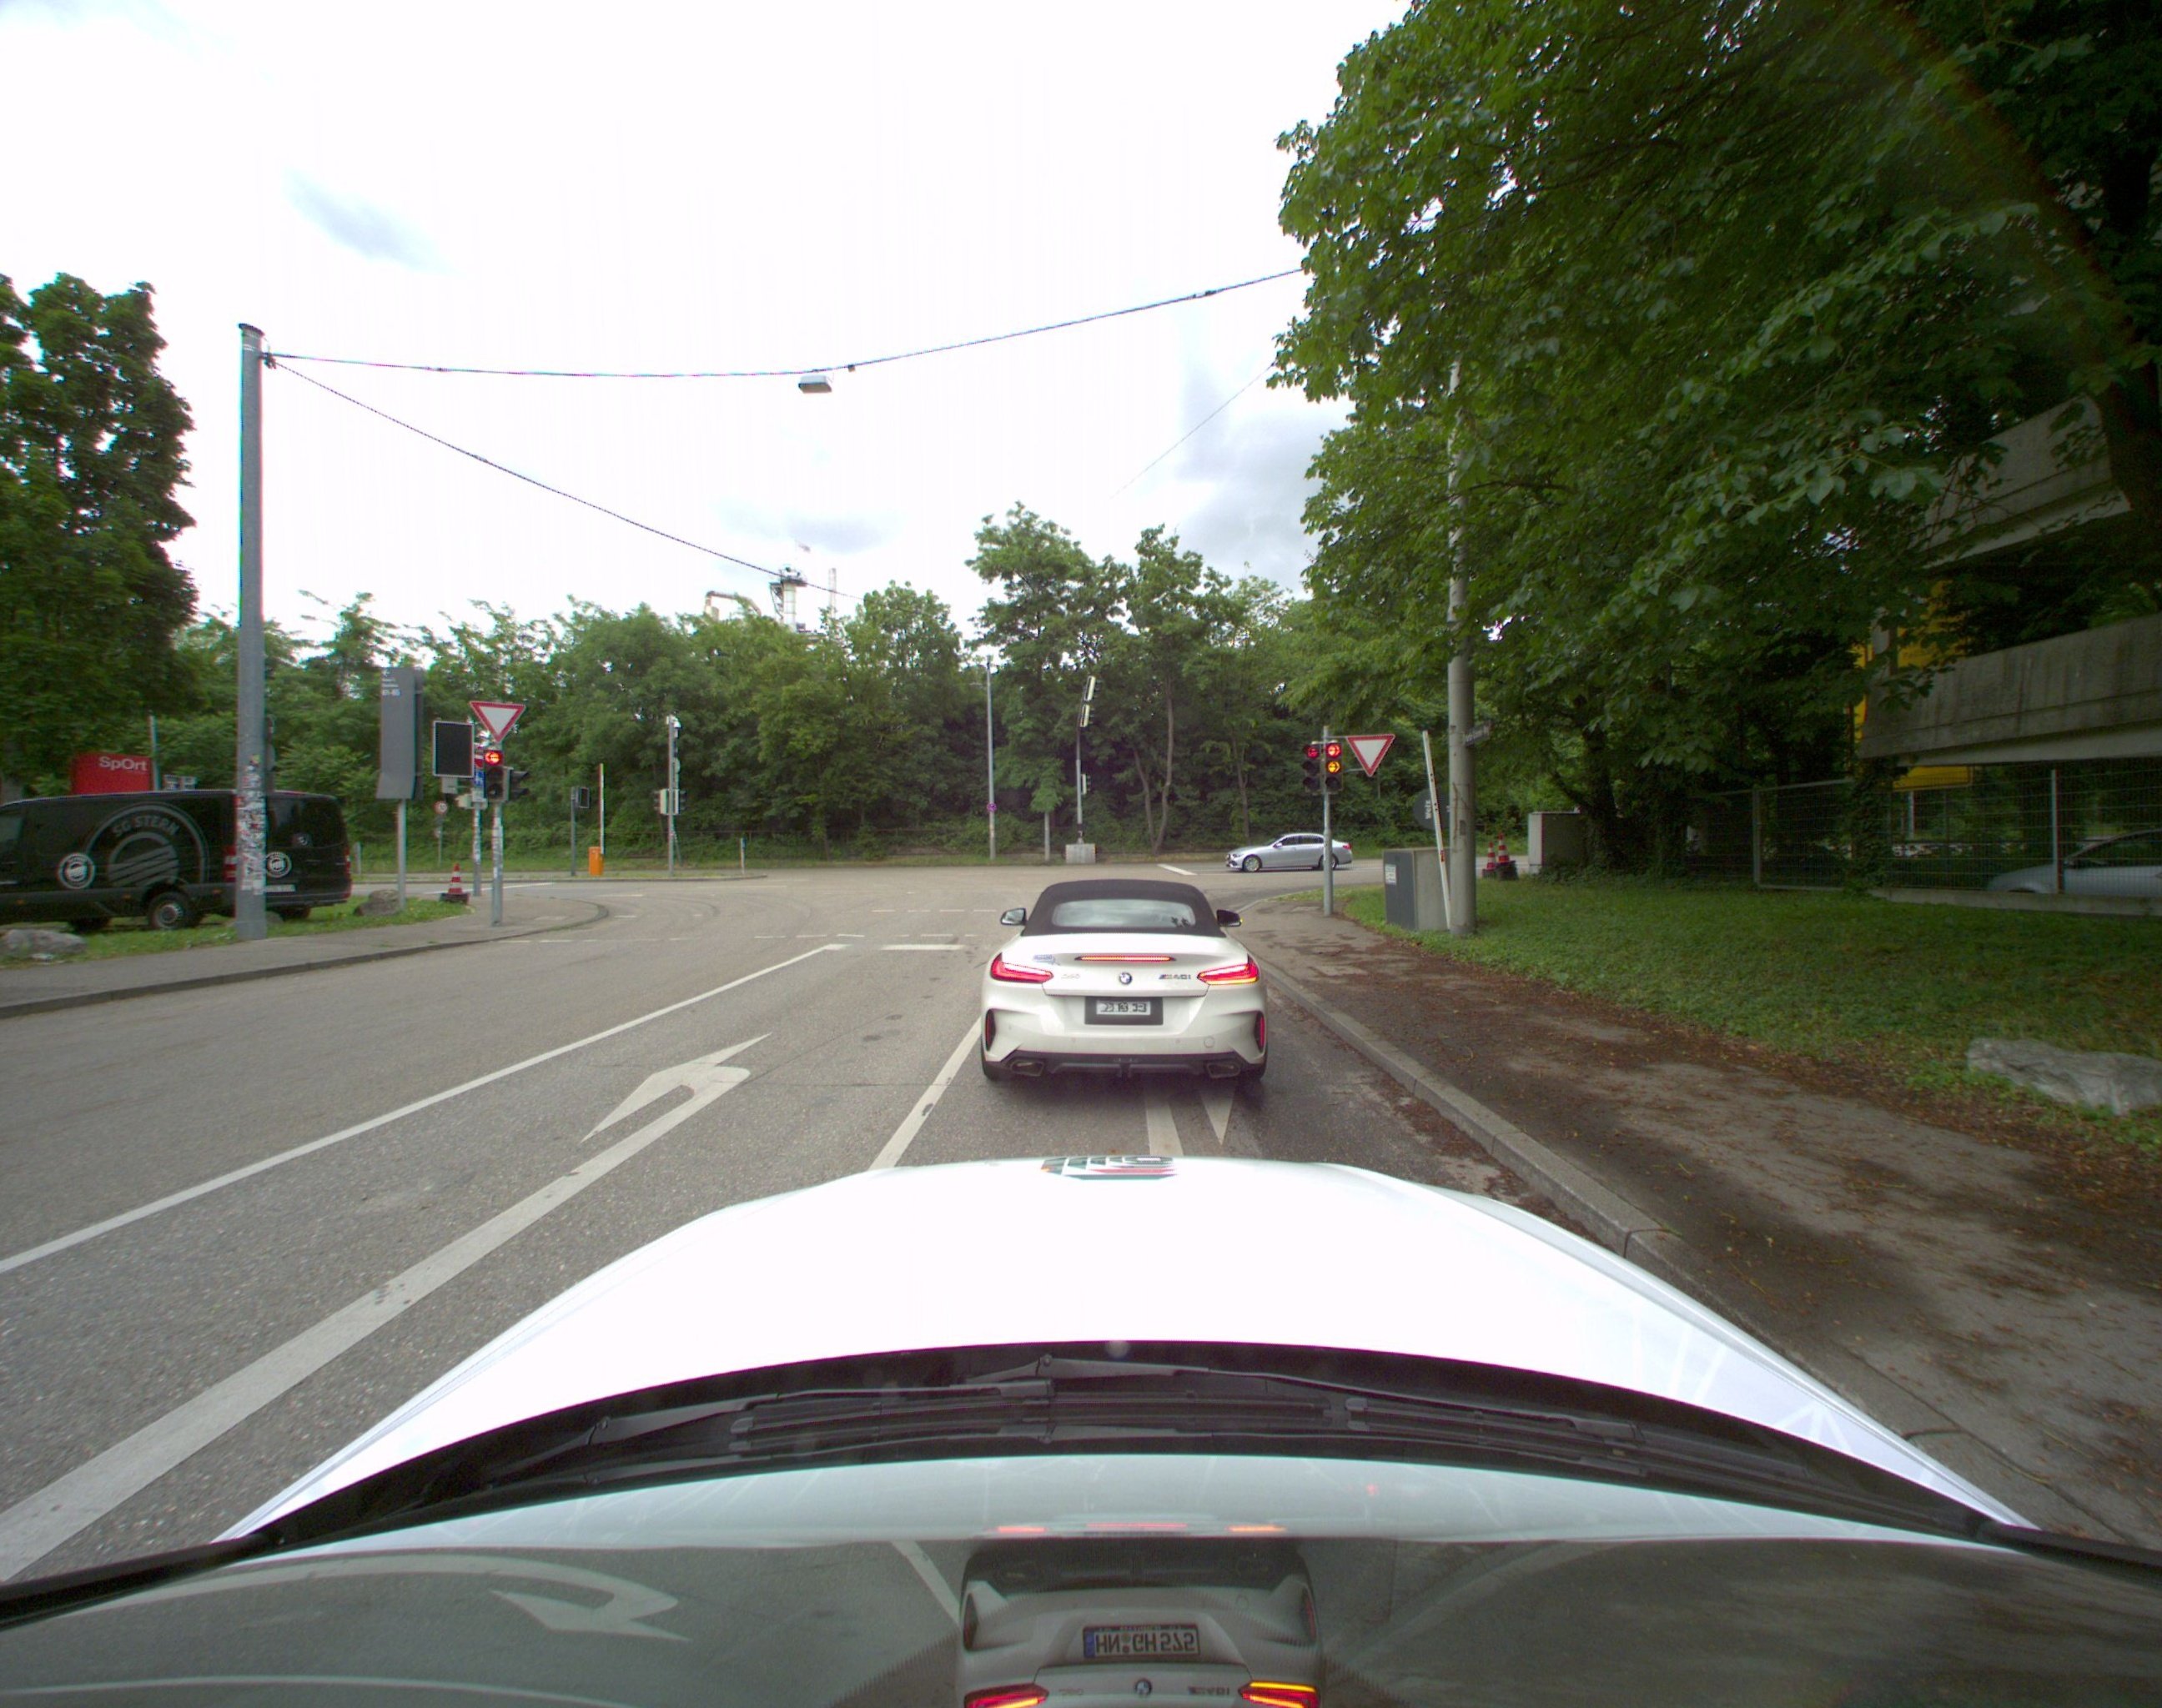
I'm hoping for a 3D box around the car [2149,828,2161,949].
[{"bbox_3d":[16.009,0.448,9.738,1.574,1.708,3.770,0,-1,2],"label":"car"}]

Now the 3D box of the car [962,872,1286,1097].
[{"bbox_3d":[0.244,0.783,6.582,1.822,1.257,3.998,0,-1,0],"label":"car"}]

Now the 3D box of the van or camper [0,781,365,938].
[{"bbox_3d":[-15.888,0.153,13.946,5.513,2.314,2.063,-2,-2,2],"label":"van or camper"}]

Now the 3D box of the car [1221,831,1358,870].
[{"bbox_3d":[7.858,-0.156,30.981,4.737,1.333,1.833,-1,2,-1],"label":"car"}]

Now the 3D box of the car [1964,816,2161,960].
[{"bbox_3d":[13.615,0.421,10.046,1.475,1.708,3.720,0,-1,2],"label":"car"}]
